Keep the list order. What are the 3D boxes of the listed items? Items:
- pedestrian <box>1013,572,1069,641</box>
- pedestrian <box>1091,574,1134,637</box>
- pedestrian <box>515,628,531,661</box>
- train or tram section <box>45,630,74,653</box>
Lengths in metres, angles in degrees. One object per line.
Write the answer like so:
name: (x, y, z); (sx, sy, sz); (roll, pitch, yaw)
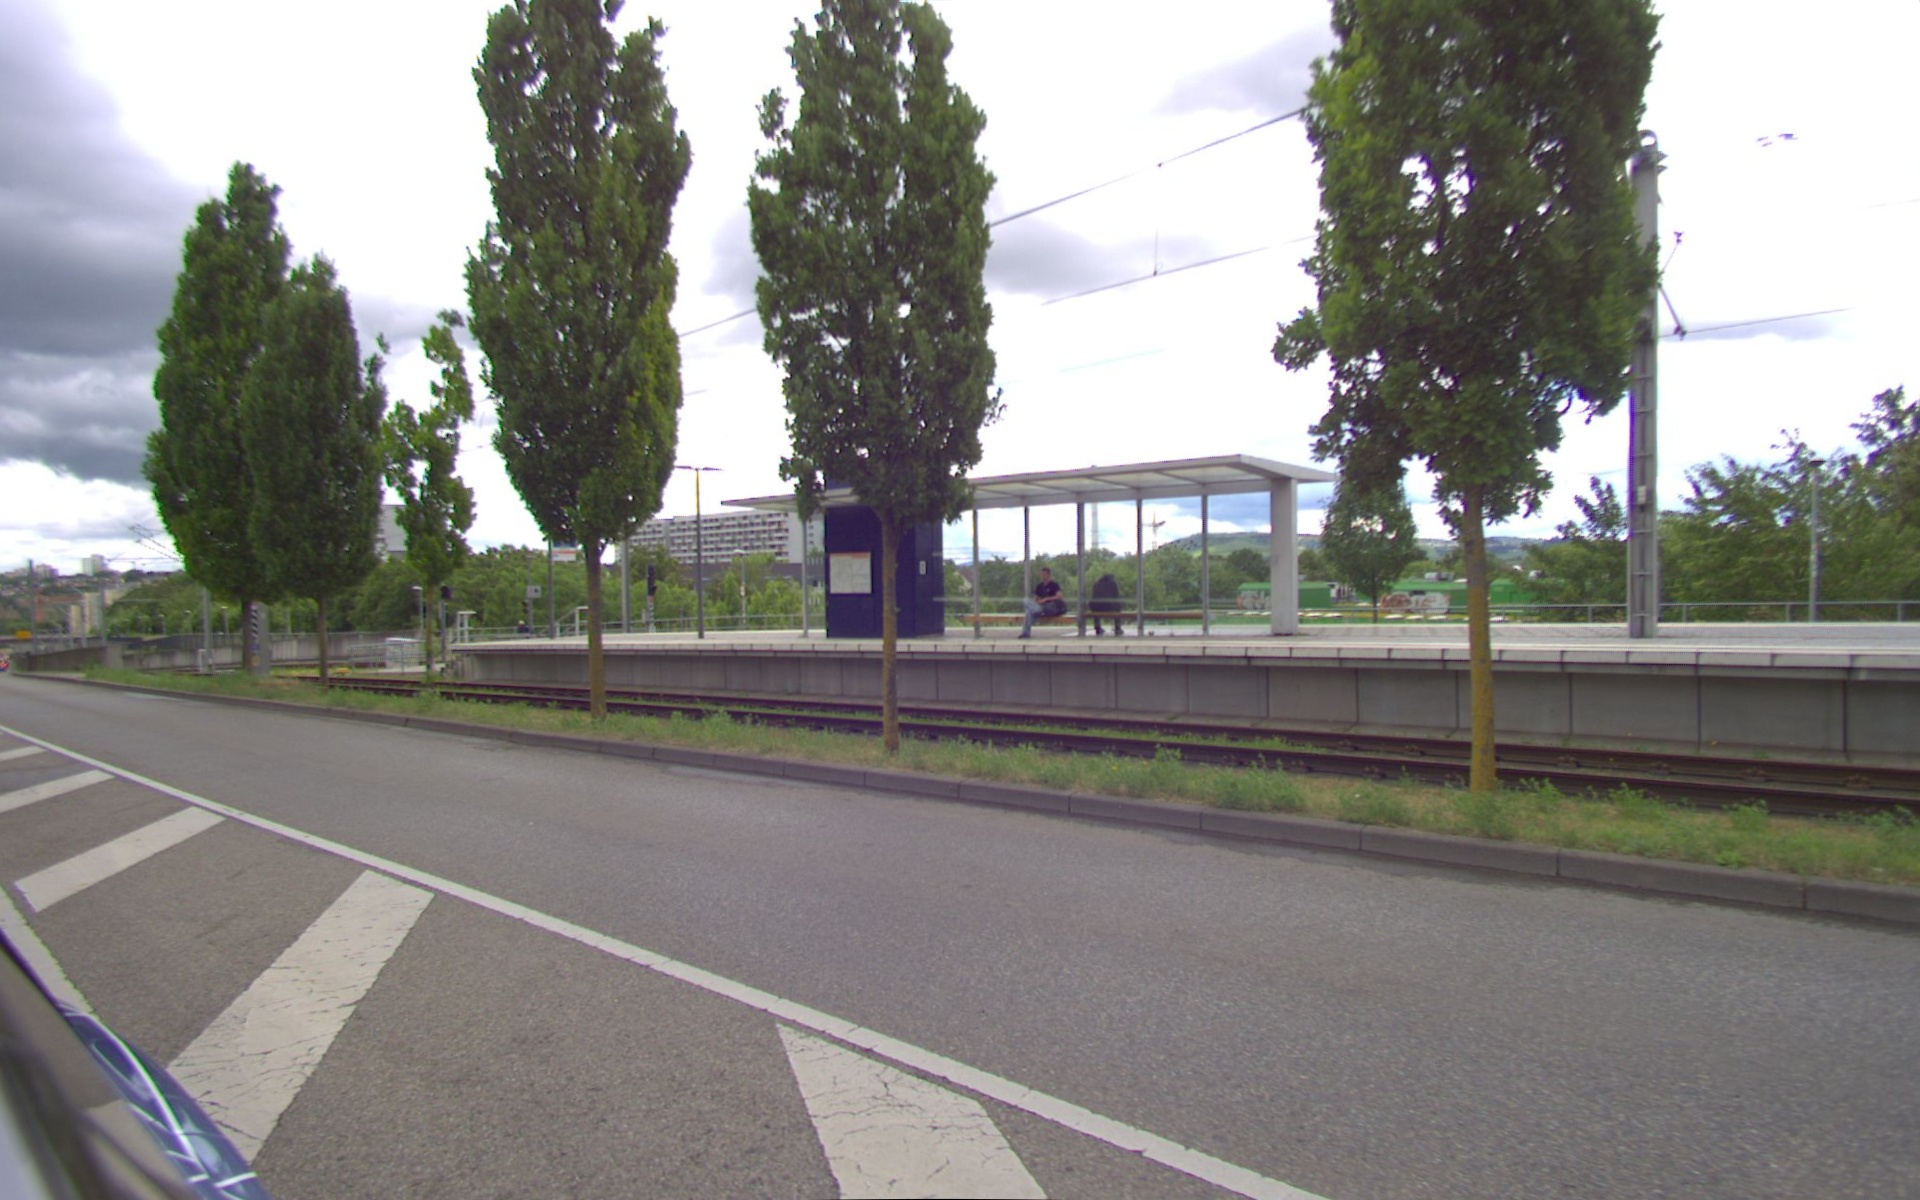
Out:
pedestrian: (1.441, 0.121, 18.035); (0.665, 1.208, 0.754); (-2, -1, 39)
pedestrian: (2.722, 0.097, 18.057); (0.470, 1.087, 0.601); (-3, -2, 39)
pedestrian: (-22.095, 2.261, 51.187); (0.646, 1.637, 0.501); (-4, -2, 44)
train or tram section: (-138.064, 6.444, 155.075); (2.748, 3.218, 18.488); (0, -2, -44)
